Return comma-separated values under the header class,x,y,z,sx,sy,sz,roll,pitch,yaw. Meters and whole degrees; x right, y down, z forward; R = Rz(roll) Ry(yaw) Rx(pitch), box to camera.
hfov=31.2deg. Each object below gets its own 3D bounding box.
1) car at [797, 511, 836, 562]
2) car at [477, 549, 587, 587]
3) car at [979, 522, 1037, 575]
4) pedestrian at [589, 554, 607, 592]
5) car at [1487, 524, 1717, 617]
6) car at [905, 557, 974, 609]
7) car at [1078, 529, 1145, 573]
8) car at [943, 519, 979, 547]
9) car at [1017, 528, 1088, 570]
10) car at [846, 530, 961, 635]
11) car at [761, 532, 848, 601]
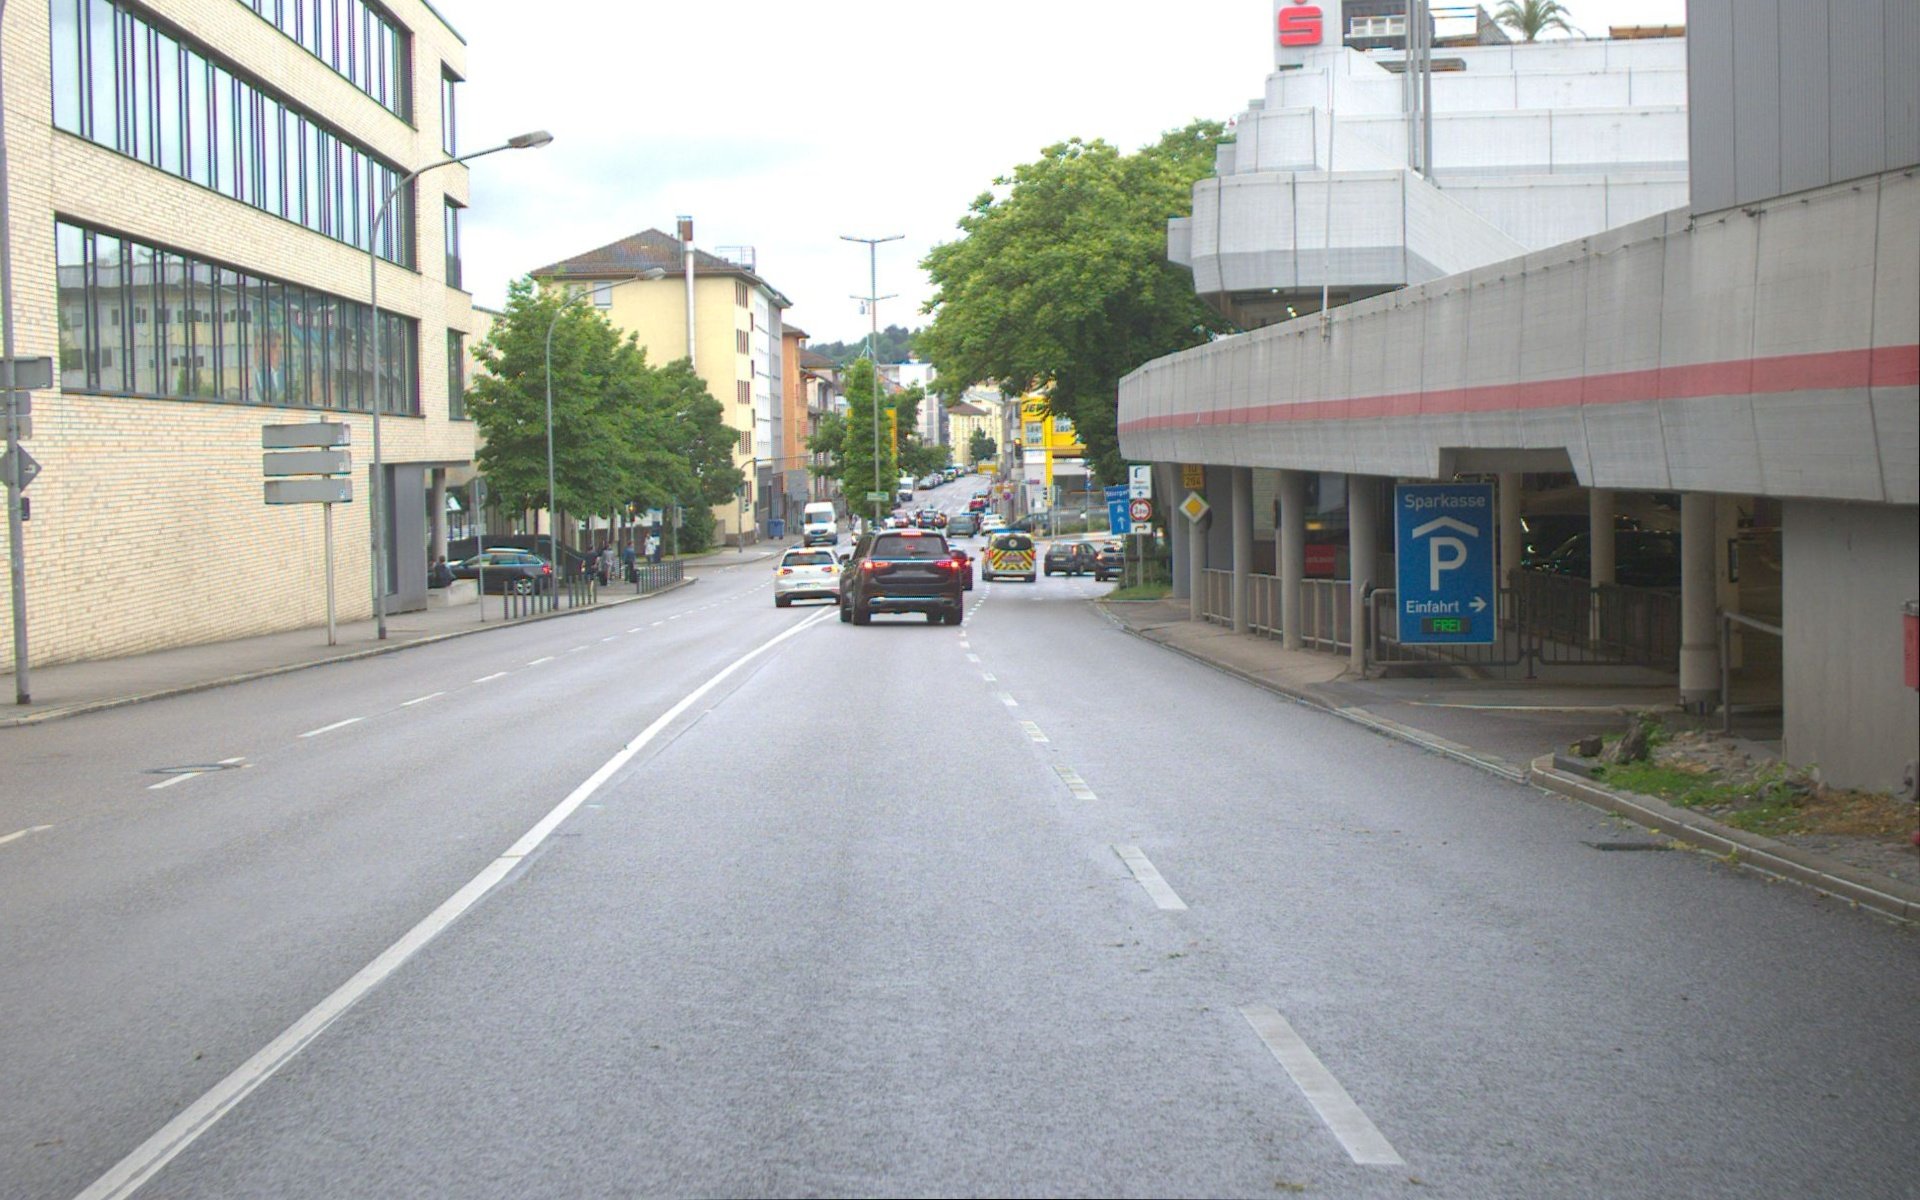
class,x,y,z,sx,sy,sz,roll,pitch,yaw
car,-8.891,-3.955,212.958,2.183,3.087,4.932,-1,1,-5
car,-14.499,-1.088,116.641,3.654,1.230,1.441,-1,1,-6
car,1.859,-2.013,133.756,2.173,1.997,4.000,-1,1,0
pedestrian,-12.225,-0.914,116.134,0.454,1.274,0.454,-1,1,10
car,10.718,-0.498,57.503,3.720,1.470,1.686,-1,1,10
car,-0.677,-0.595,116.440,1.994,1.674,4.000,-1,1,5
car,6.055,-1.960,137.069,1.995,1.674,3.998,-1,1,13
car,0.061,-4.333,221.696,1.993,1.674,4.001,-1,2,-4
car,3.885,-2.148,143.755,1.995,1.674,3.997,0,1,17
car,-1.026,-0.358,64.844,2.091,1.904,4.100,0,1,0
car,-3.979,-0.872,87.424,1.993,1.674,4.001,-1,1,-6
